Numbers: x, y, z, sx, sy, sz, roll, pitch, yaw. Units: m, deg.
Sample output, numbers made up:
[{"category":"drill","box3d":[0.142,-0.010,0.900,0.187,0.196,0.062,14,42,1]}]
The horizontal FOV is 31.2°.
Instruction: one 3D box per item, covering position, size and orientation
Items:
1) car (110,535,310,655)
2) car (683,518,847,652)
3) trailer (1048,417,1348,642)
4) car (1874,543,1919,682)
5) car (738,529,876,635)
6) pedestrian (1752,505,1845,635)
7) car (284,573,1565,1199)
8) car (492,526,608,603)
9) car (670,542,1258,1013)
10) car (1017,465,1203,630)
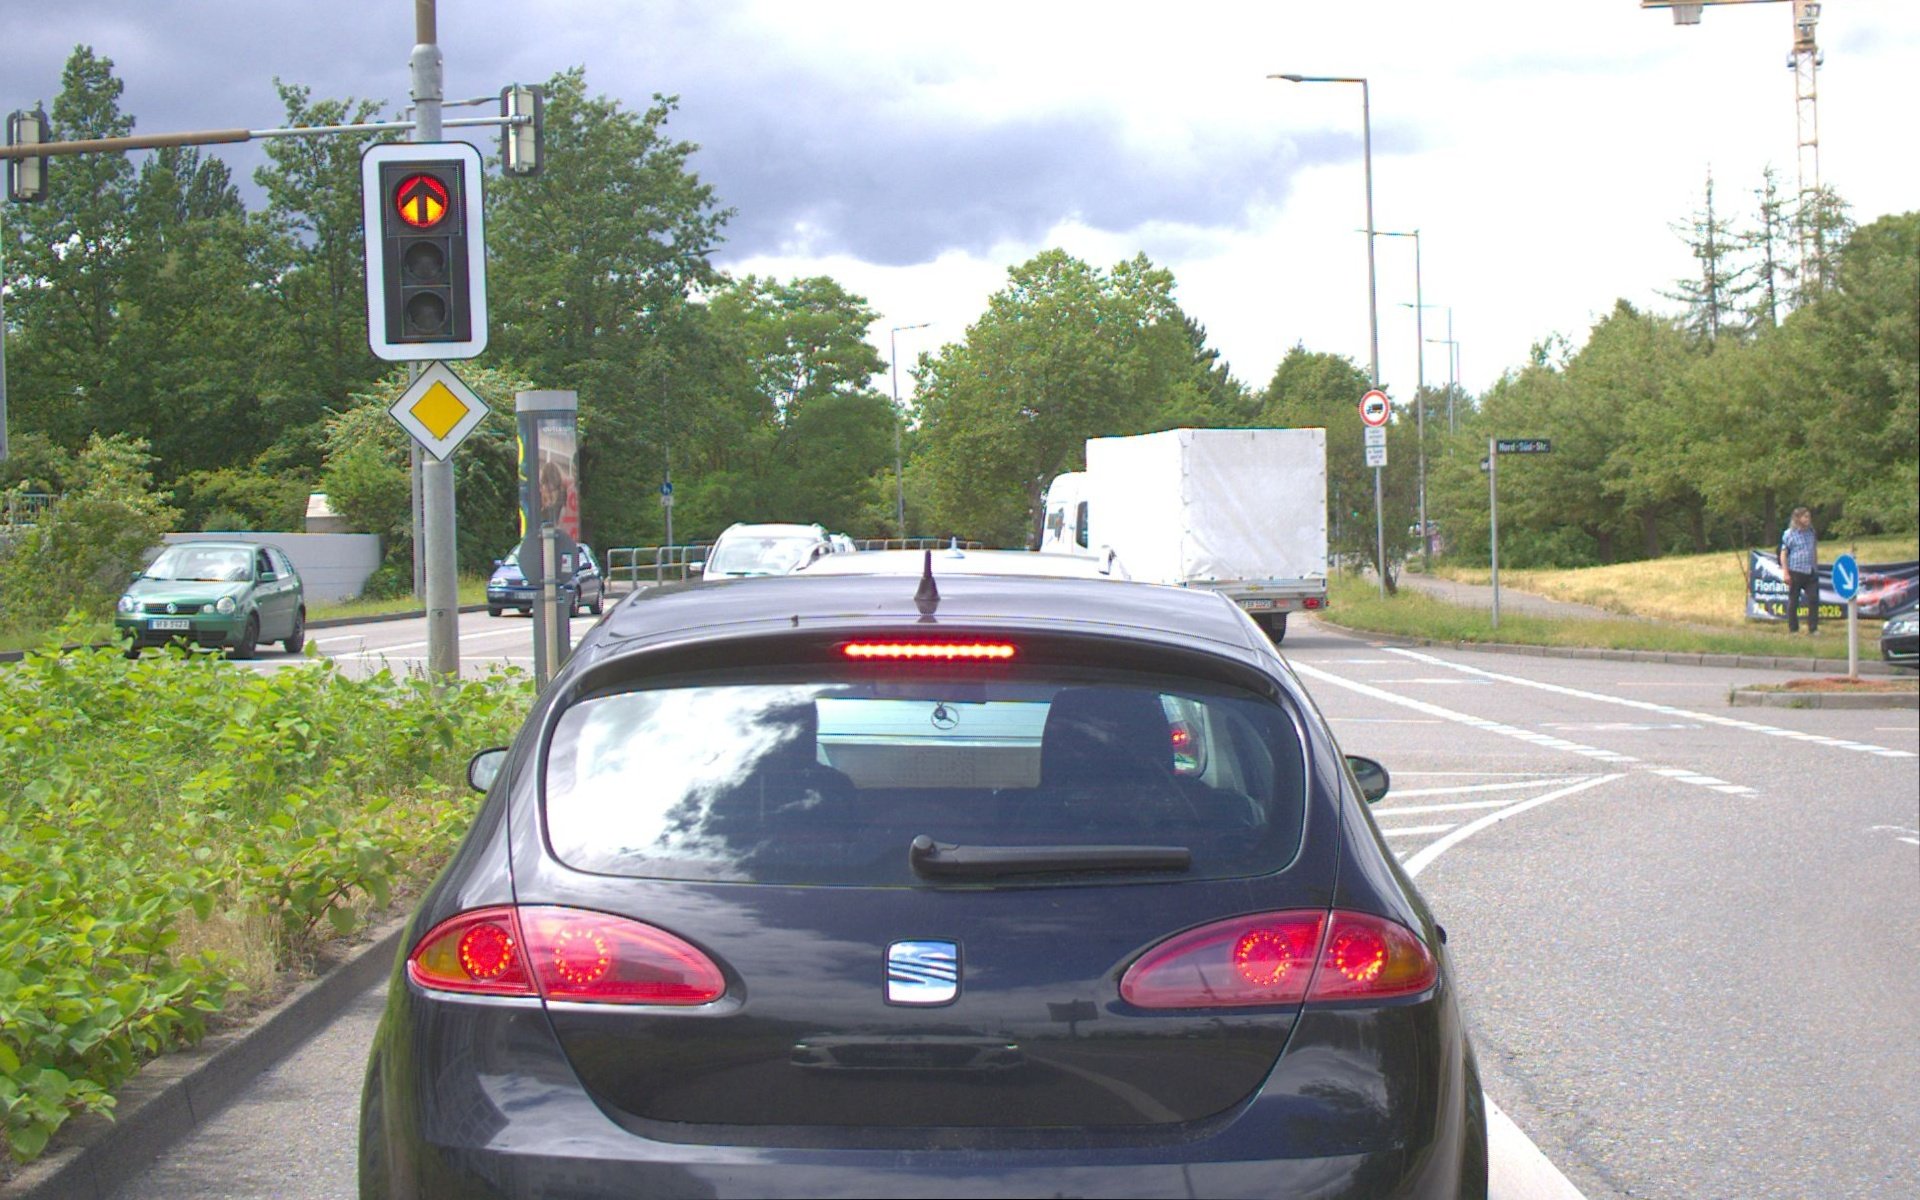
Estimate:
[{"category":"car","box3d":[-9.425,-0.096,43.431,1.605,1.427,3.752,0,1,2]},{"category":"car","box3d":[-2.567,-0.246,46.201,1.820,1.681,4.645,1,1,1]},{"category":"trailer","box3d":[3.379,-1.000,50.201,2.490,3.063,5.589,1,1,-17]},{"category":"car","box3d":[12.860,0.129,39.519,4.458,1.560,1.999,0,1,12]},{"category":"car","box3d":[-2.285,-0.299,52.280,1.660,1.513,4.084,1,1,3]},{"category":"pedestrian","box3d":[11.638,-0.420,47.739,0.718,1.786,1.044,1,0,-27]},{"category":"car","box3d":[-0.065,0.686,6.347,1.711,1.412,3.459,1,1,0]},{"category":"car","box3d":[-7.811,-0.704,65.718,1.554,1.414,3.895,0,1,3]},{"category":"car","box3d":[0.032,0.541,12.723,1.834,1.462,3.751,1,1,1]},{"category":"car","box3d":[2.365,-0.842,55.910,2.126,2.509,5.836,1,1,-6]}]
